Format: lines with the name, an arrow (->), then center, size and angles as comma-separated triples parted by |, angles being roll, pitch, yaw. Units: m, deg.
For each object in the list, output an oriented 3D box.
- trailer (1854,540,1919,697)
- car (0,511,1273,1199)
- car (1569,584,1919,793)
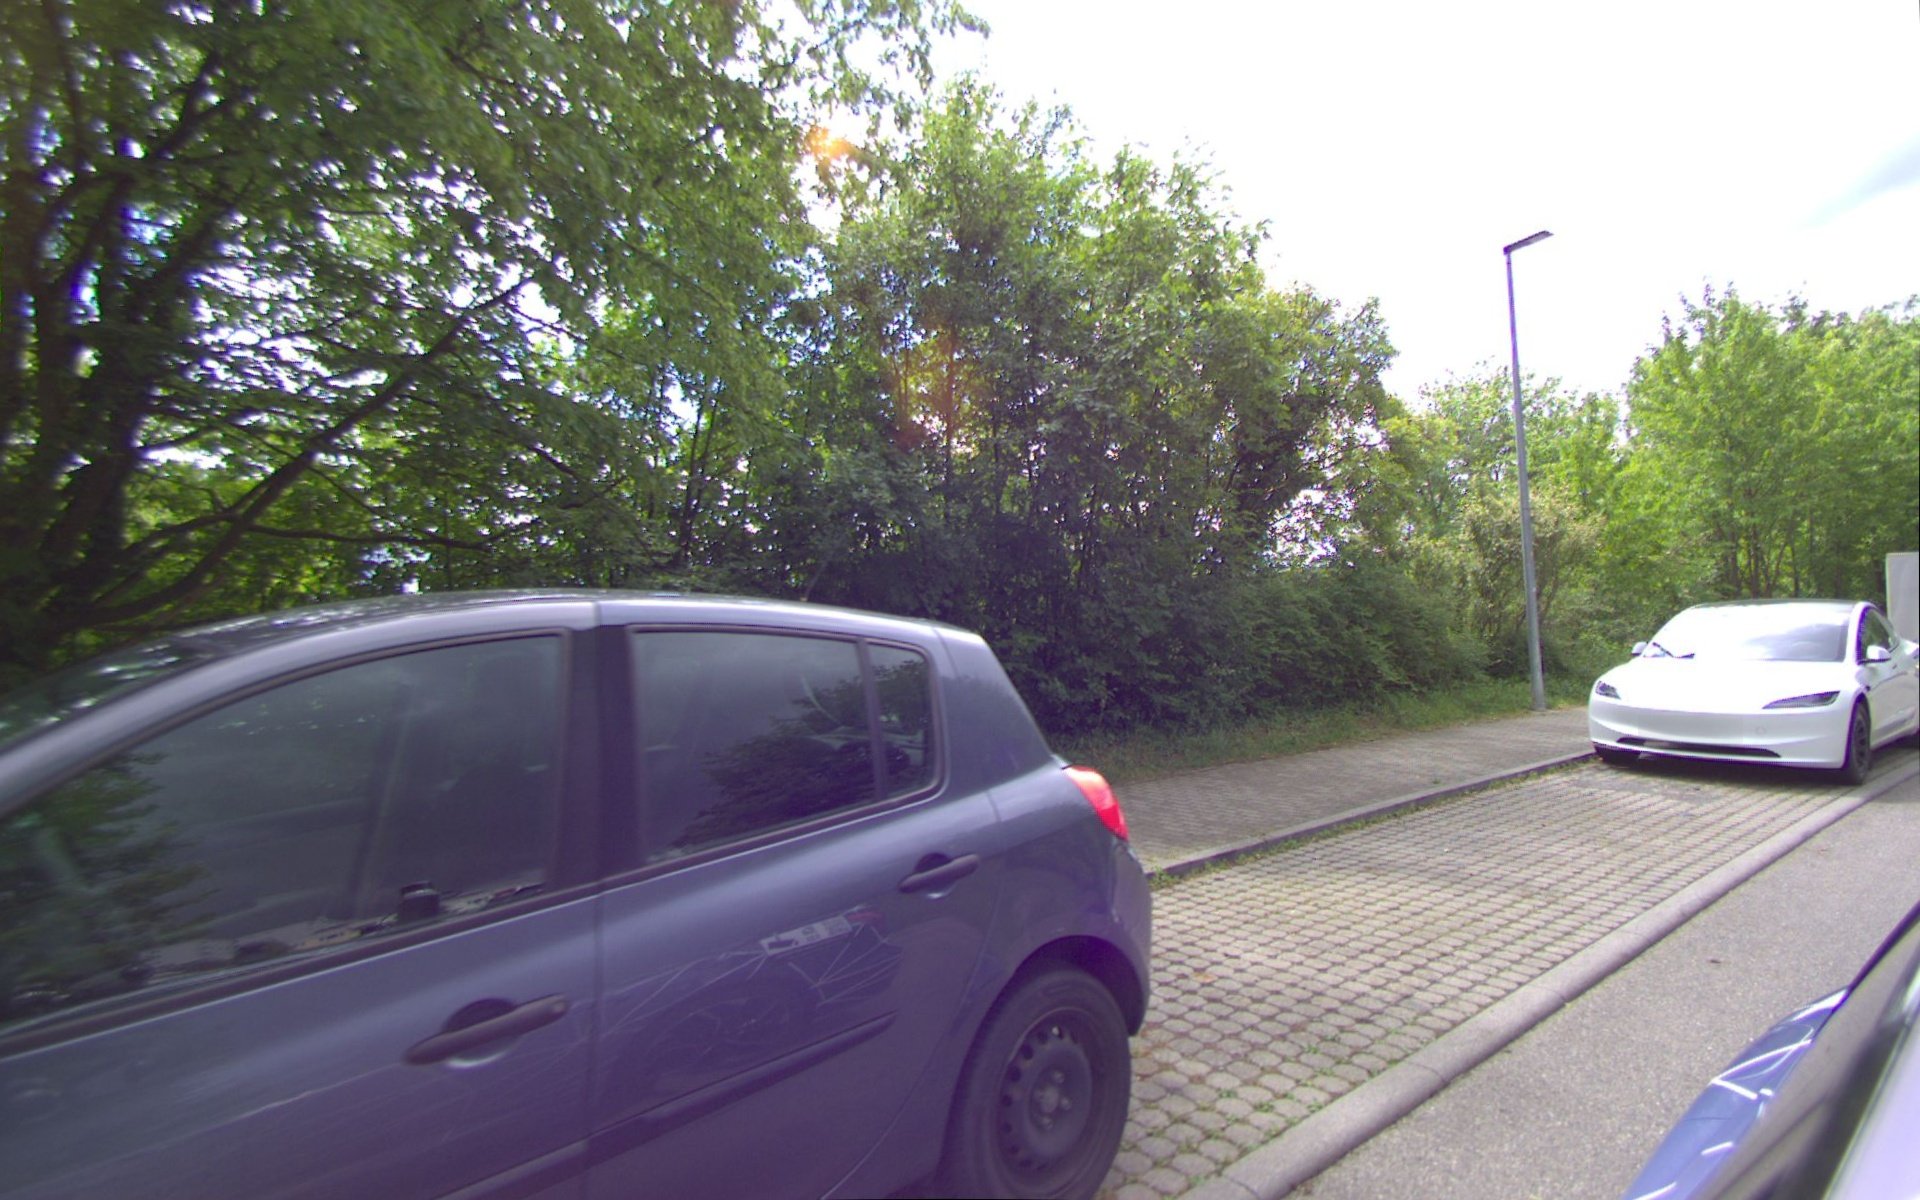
trailer -> 14.545, 0.199, 14.502 | 3.712, 2.104, 1.736 | -2, 1, -35
car -> -1.272, 0.681, 2.179 | 4.034, 1.537, 1.772 | -1, -1, -40
car -> 7.717, 0.619, 9.469 | 4.813, 1.496, 1.867 | 0, 0, -38
